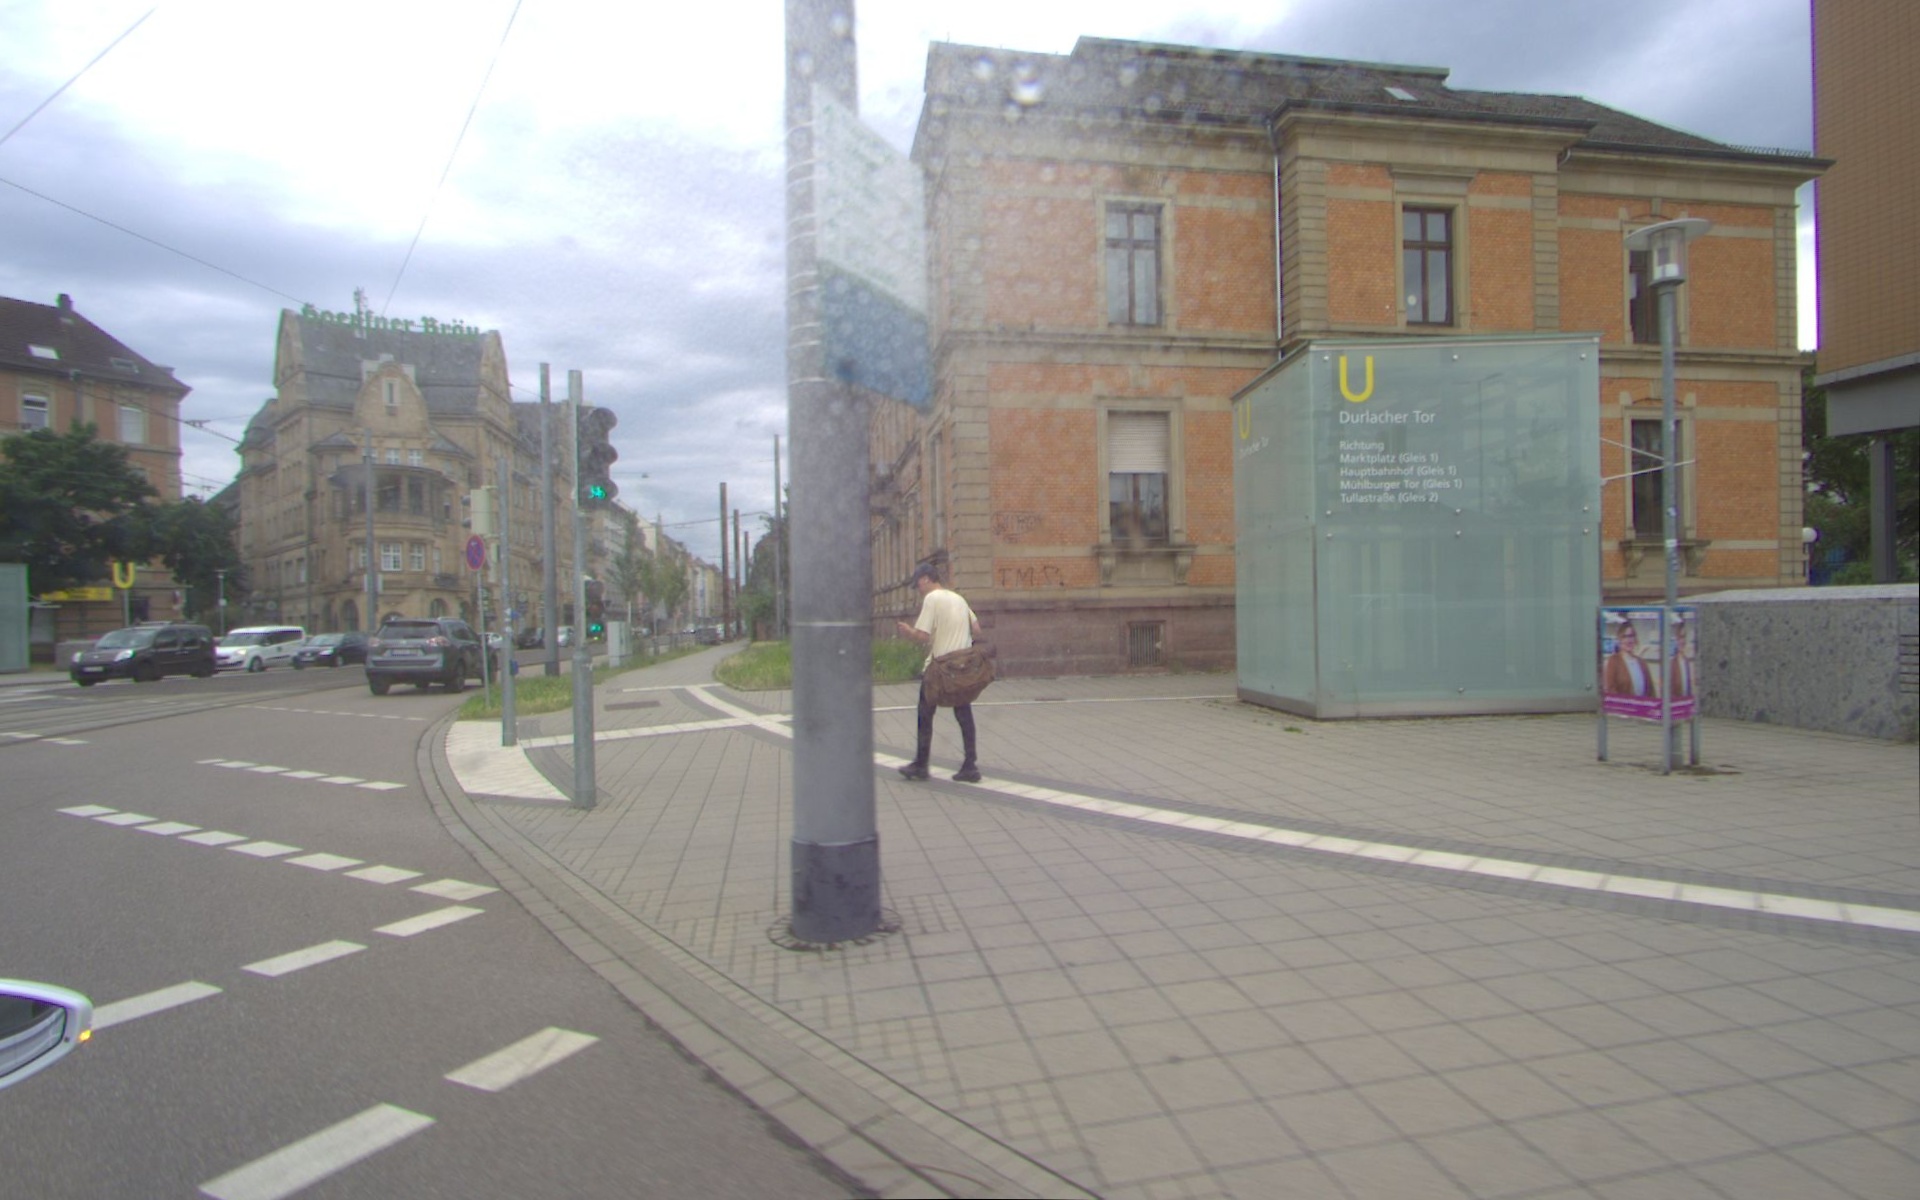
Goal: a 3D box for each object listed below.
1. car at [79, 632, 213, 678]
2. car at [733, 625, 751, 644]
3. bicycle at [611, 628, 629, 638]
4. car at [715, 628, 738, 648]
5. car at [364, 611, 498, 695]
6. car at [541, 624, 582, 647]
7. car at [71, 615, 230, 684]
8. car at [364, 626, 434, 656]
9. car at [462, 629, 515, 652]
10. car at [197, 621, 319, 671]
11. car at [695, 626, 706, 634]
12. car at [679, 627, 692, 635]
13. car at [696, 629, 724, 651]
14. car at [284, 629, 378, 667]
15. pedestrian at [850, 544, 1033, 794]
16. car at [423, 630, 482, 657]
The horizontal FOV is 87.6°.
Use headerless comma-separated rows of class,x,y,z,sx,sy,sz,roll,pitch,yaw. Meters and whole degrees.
car,-28.084,1.856,34.719,1.662,1.460,4.000,-1,-1,-6
car,-26.287,4.113,120.728,1.822,2.142,4.982,-3,-1,-10
bicycle,-43.391,4.209,127.790,2.198,1.141,0.503,-1,0,-17
car,-20.875,3.403,89.539,1.728,1.595,3.929,-3,-1,-10
car,-12.202,1.180,23.361,1.723,1.778,3.921,0,-1,-12
car,-31.238,2.762,78.584,1.833,1.728,4.908,-2,-1,-8
car,-24.639,1.461,30.702,1.662,1.925,4.387,-1,-1,-6
car,-29.880,2.161,53.461,1.833,1.417,3.895,-3,-1,-6
car,-31.547,2.684,67.132,1.895,1.397,4.257,-1,-1,-7
car,-28.982,1.846,41.563,1.833,1.941,5.101,-1,-1,-5
car,-52.368,6.081,202.188,1.731,1.693,4.612,-1,-1,-9
car,-49.670,5.597,181.312,1.731,1.468,4.612,-1,-1,-9
car,-18.224,2.922,73.106,1.612,1.452,3.929,-3,-1,-10
car,-25.609,1.923,40.924,1.662,1.460,4.000,-1,-1,-6
pedestrian,-0.167,0.541,8.352,0.879,1.892,1.274,-1,0,-44
car,-29.793,2.500,58.892,1.719,1.397,4.361,-4,-1,-9
